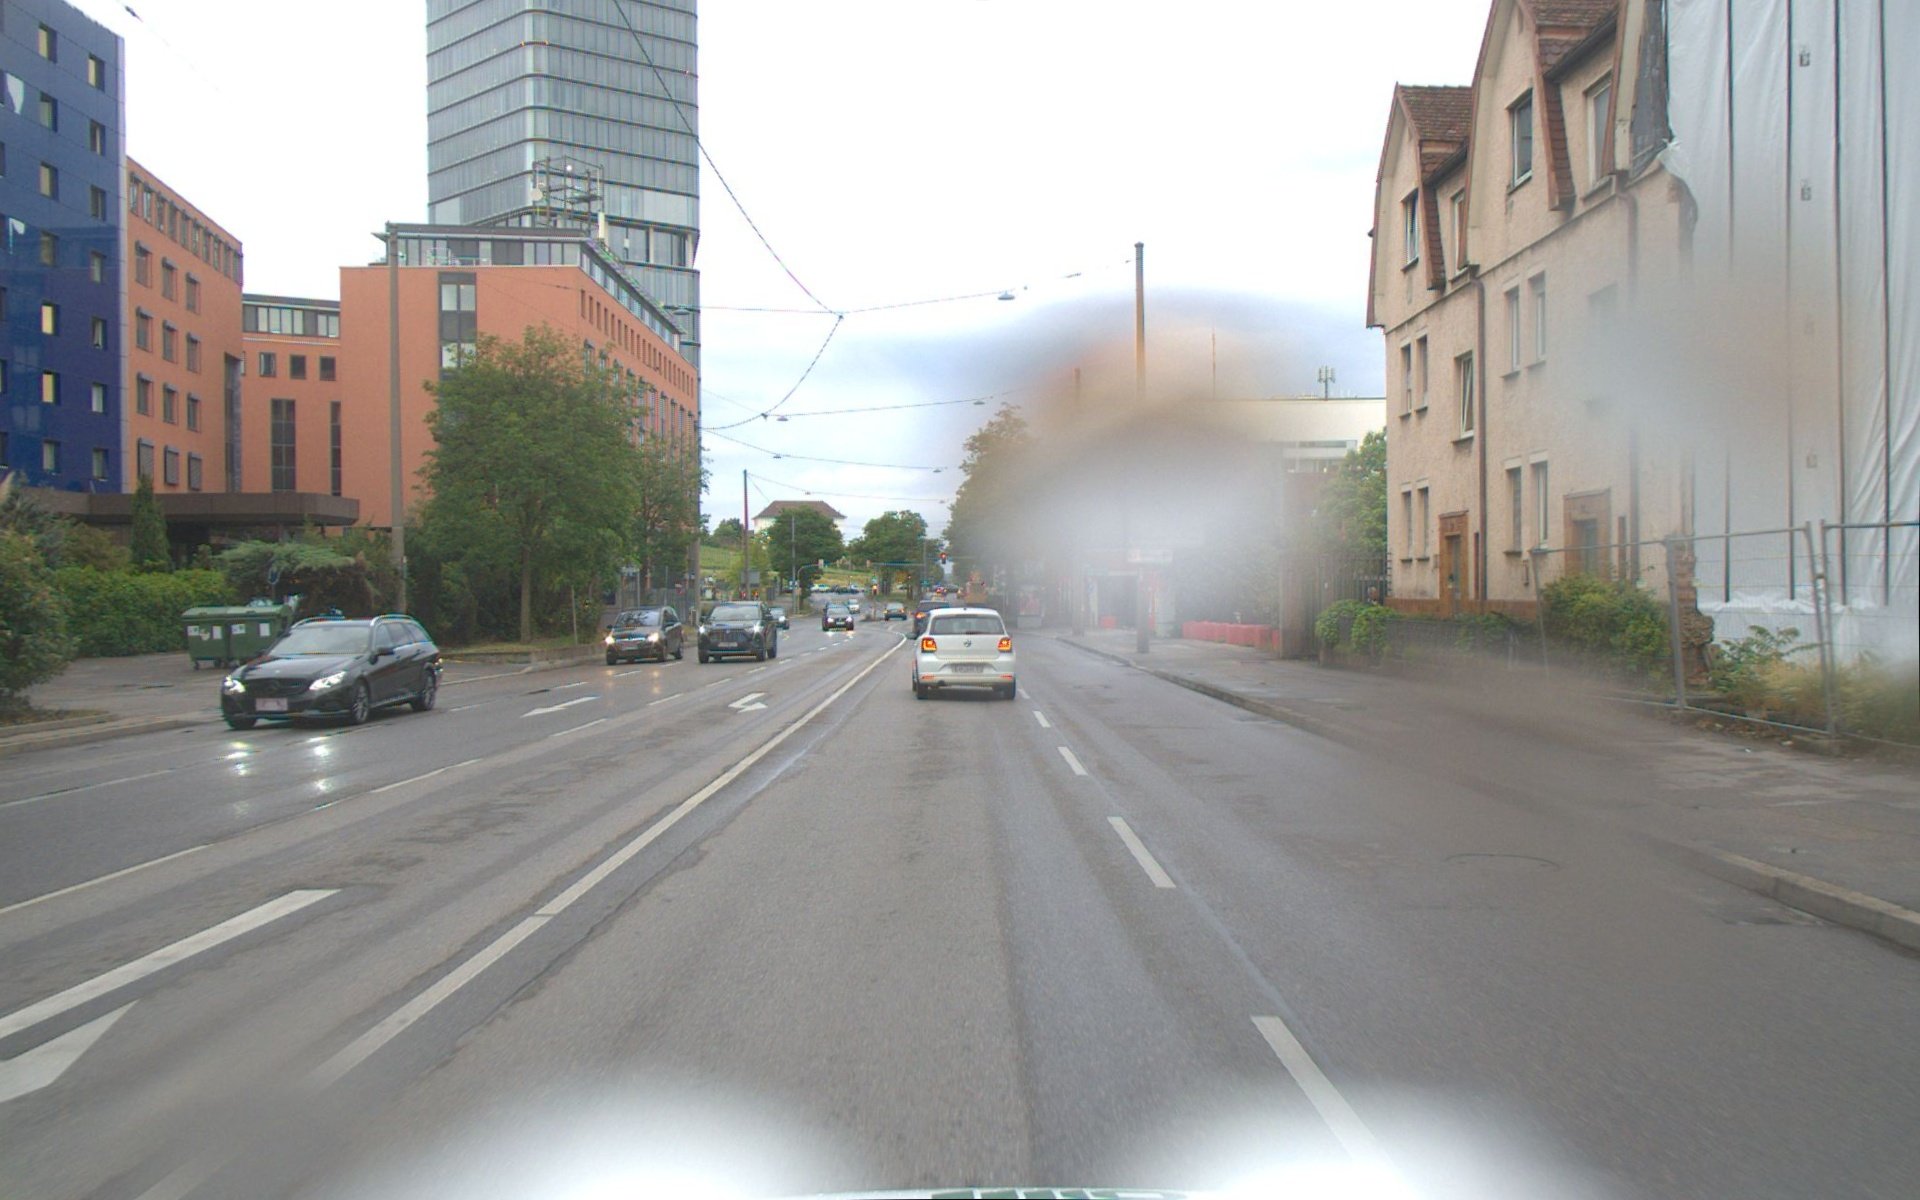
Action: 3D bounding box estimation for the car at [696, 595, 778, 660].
[{"bbox_3d":[-6.277,0.745,46.999,1.721,1.582,4.450,-3,1,-1],"label":"car"}]

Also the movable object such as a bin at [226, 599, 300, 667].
[{"bbox_3d":[-16.368,0.787,38.876,1.365,1.517,0.949,-3,-2,-10],"label":"movable object such as a bin"}]

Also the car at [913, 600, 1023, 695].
[{"bbox_3d":[0.074,0.752,27.988,1.637,1.499,3.777,0,0,-3],"label":"car"}]

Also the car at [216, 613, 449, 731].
[{"bbox_3d":[-9.121,0.981,24.493,1.698,1.502,4.698,-1,0,-1],"label":"car"}]

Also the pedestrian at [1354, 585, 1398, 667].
[{"bbox_3d":[9.203,0.571,36.643,0.891,1.795,0.768,1,0,11],"label":"pedestrian"}]

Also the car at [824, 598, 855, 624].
[{"bbox_3d":[-7.231,0.651,99.684,1.625,1.512,3.819,-1,0,0],"label":"car"}]

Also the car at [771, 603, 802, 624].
[{"bbox_3d":[-11.904,0.918,113.661,1.588,1.346,4.447,-2,1,1],"label":"car"}]

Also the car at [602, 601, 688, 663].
[{"bbox_3d":[-9.218,0.912,48.680,1.673,1.593,4.034,-3,1,0],"label":"car"}]

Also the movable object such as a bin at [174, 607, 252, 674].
[{"bbox_3d":[-17.848,0.962,39.550,1.360,1.517,0.952,-3,-2,11],"label":"movable object such as a bin"}]

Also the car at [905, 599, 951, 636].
[{"bbox_3d":[-1.419,0.778,74.961,1.952,1.601,4.000,-1,0,1],"label":"car"}]
